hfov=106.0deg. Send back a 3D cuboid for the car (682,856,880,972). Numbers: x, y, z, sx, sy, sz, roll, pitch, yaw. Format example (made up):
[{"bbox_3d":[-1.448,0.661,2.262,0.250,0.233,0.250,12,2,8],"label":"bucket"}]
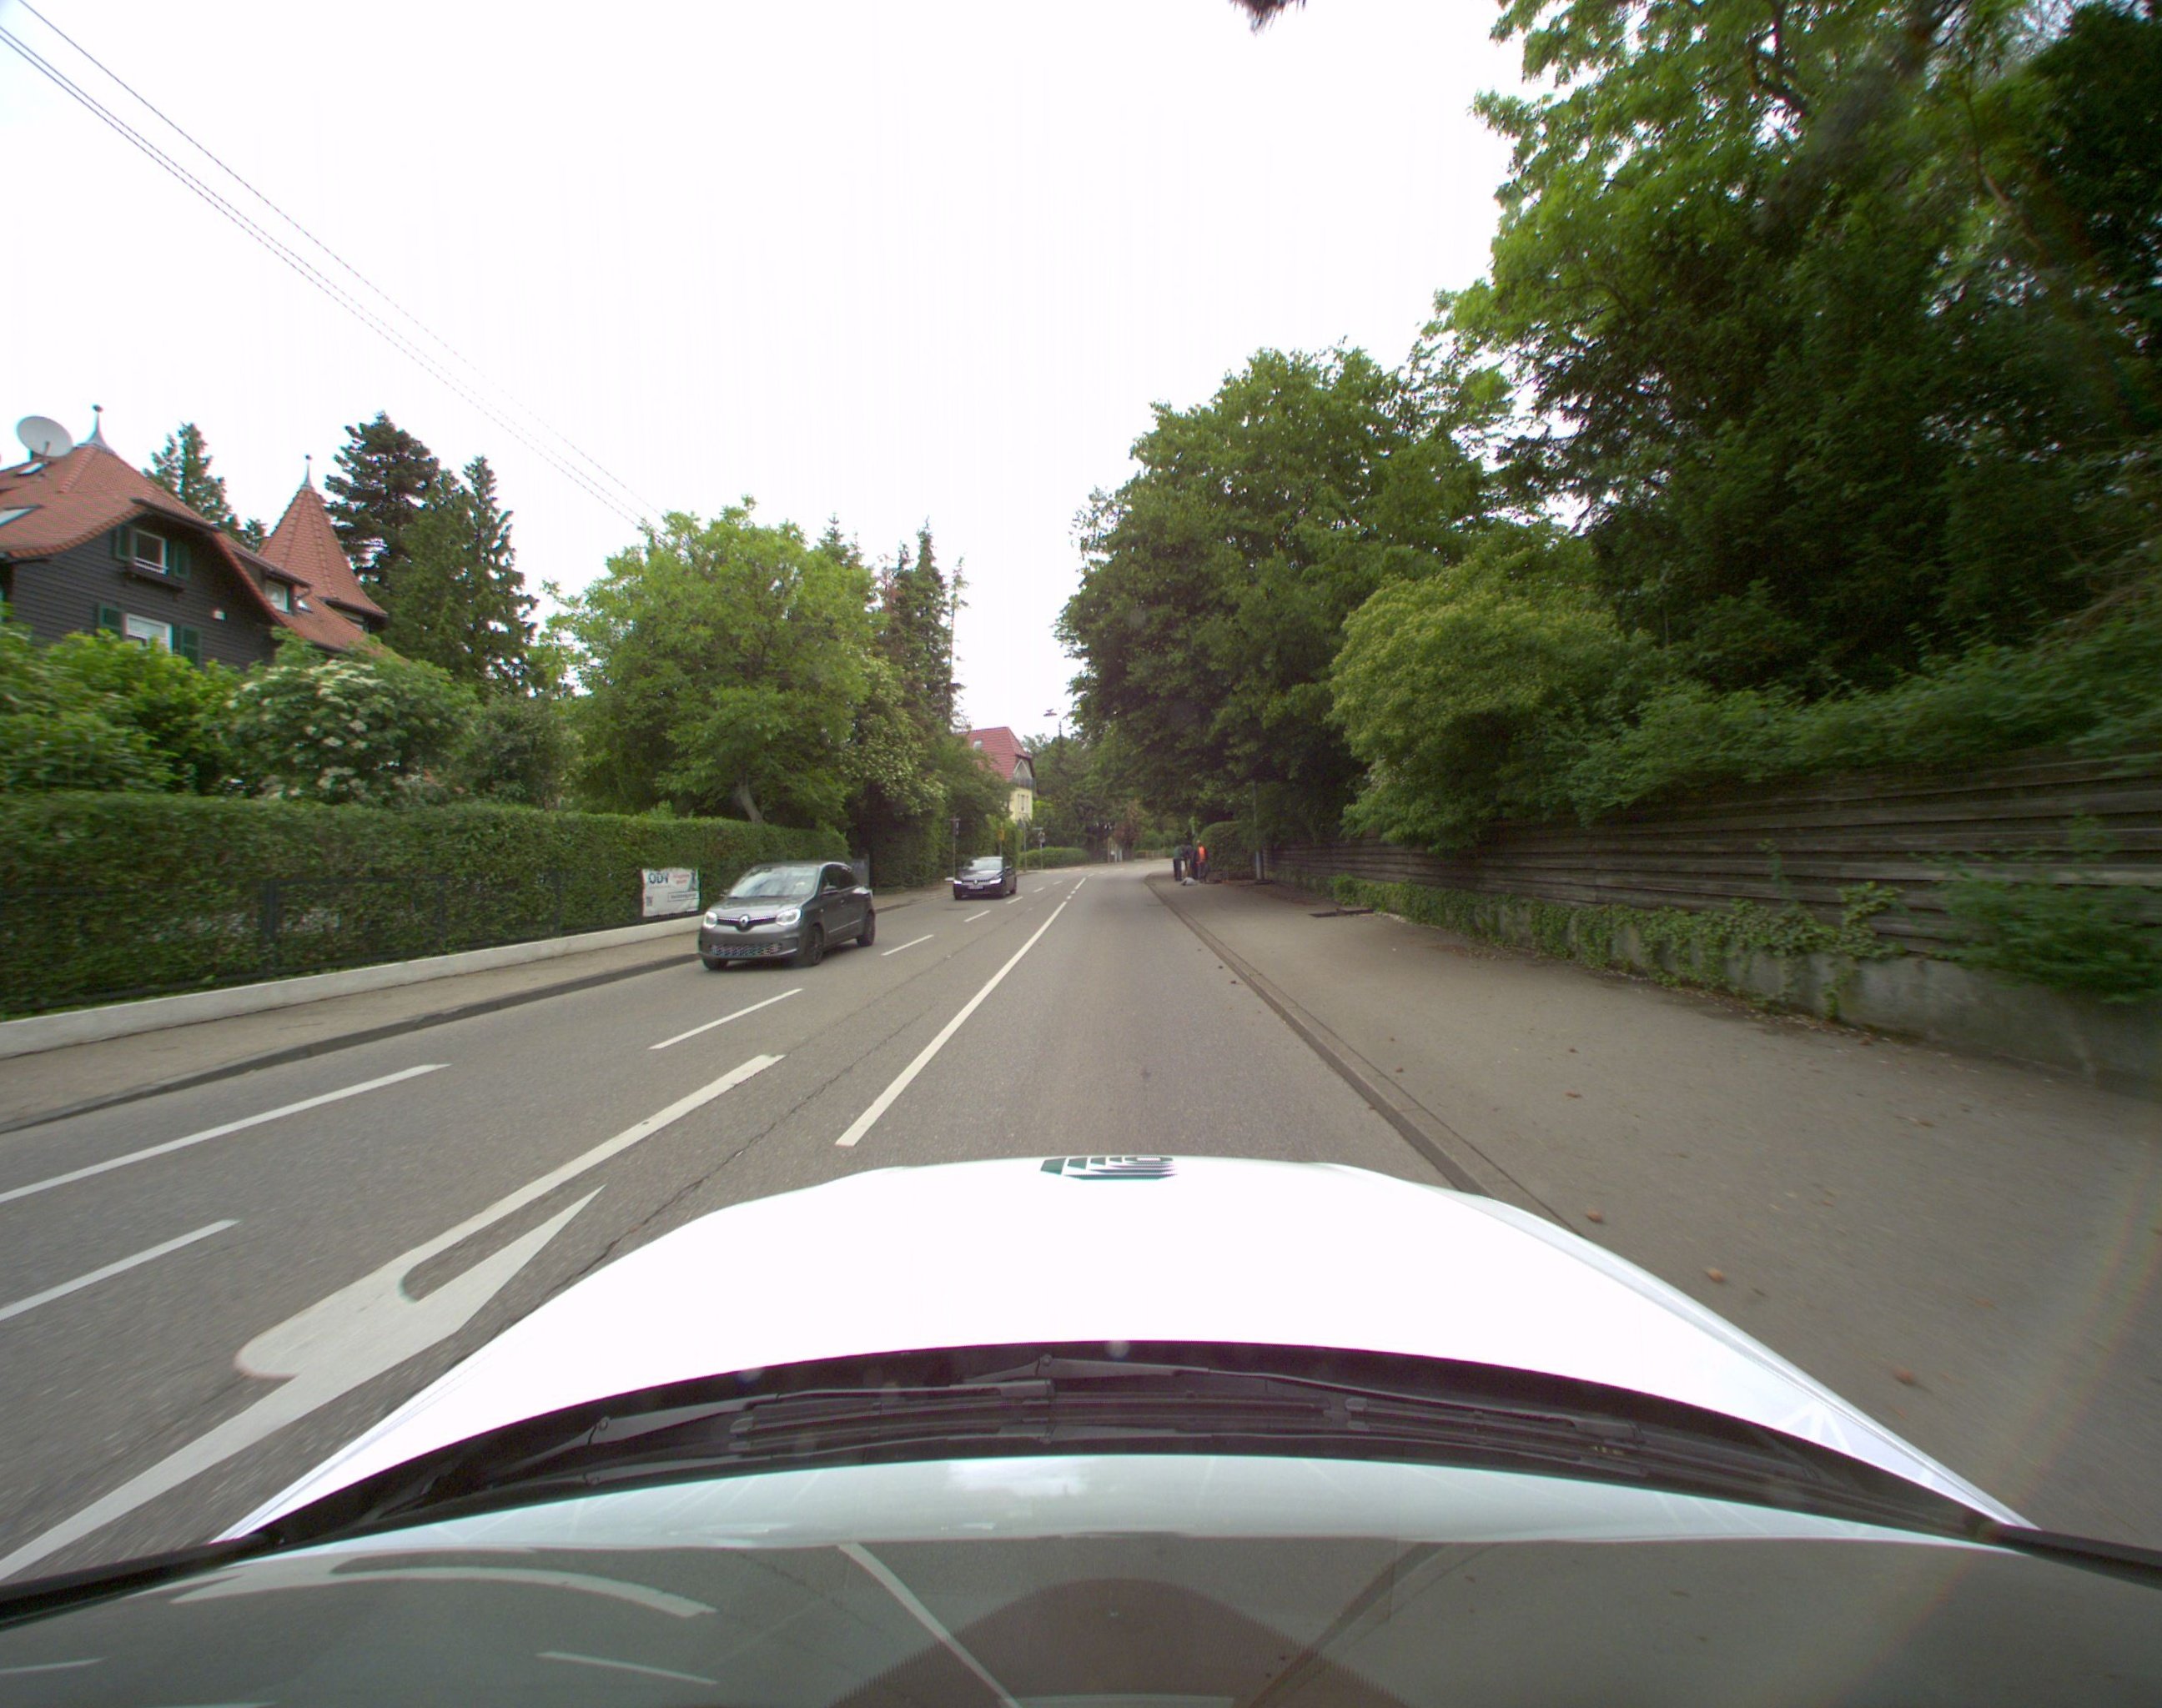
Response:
[{"bbox_3d":[-4.598,0.839,13.066,1.677,1.519,3.538,-2,0,3],"label":"car"}]

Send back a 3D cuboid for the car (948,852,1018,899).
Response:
[{"bbox_3d":[-3.375,0.695,28.837,1.673,1.471,4.022,-2,0,4],"label":"car"}]

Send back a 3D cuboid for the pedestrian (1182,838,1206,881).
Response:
[{"bbox_3d":[4.889,0.241,35.223,0.694,1.807,0.665,-2,0,-39],"label":"pedestrian"}]

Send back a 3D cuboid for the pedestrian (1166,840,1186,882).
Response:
[{"bbox_3d":[4.103,0.300,35.134,0.594,1.807,0.522,-2,0,43],"label":"pedestrian"}]

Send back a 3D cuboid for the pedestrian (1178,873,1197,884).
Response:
[{"bbox_3d":[4.176,0.957,31.873,0.670,0.393,0.741,-2,0,1],"label":"pedestrian"}]

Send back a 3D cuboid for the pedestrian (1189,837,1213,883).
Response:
[{"bbox_3d":[4.807,0.224,32.670,0.804,1.807,0.741,-2,0,1],"label":"pedestrian"}]
